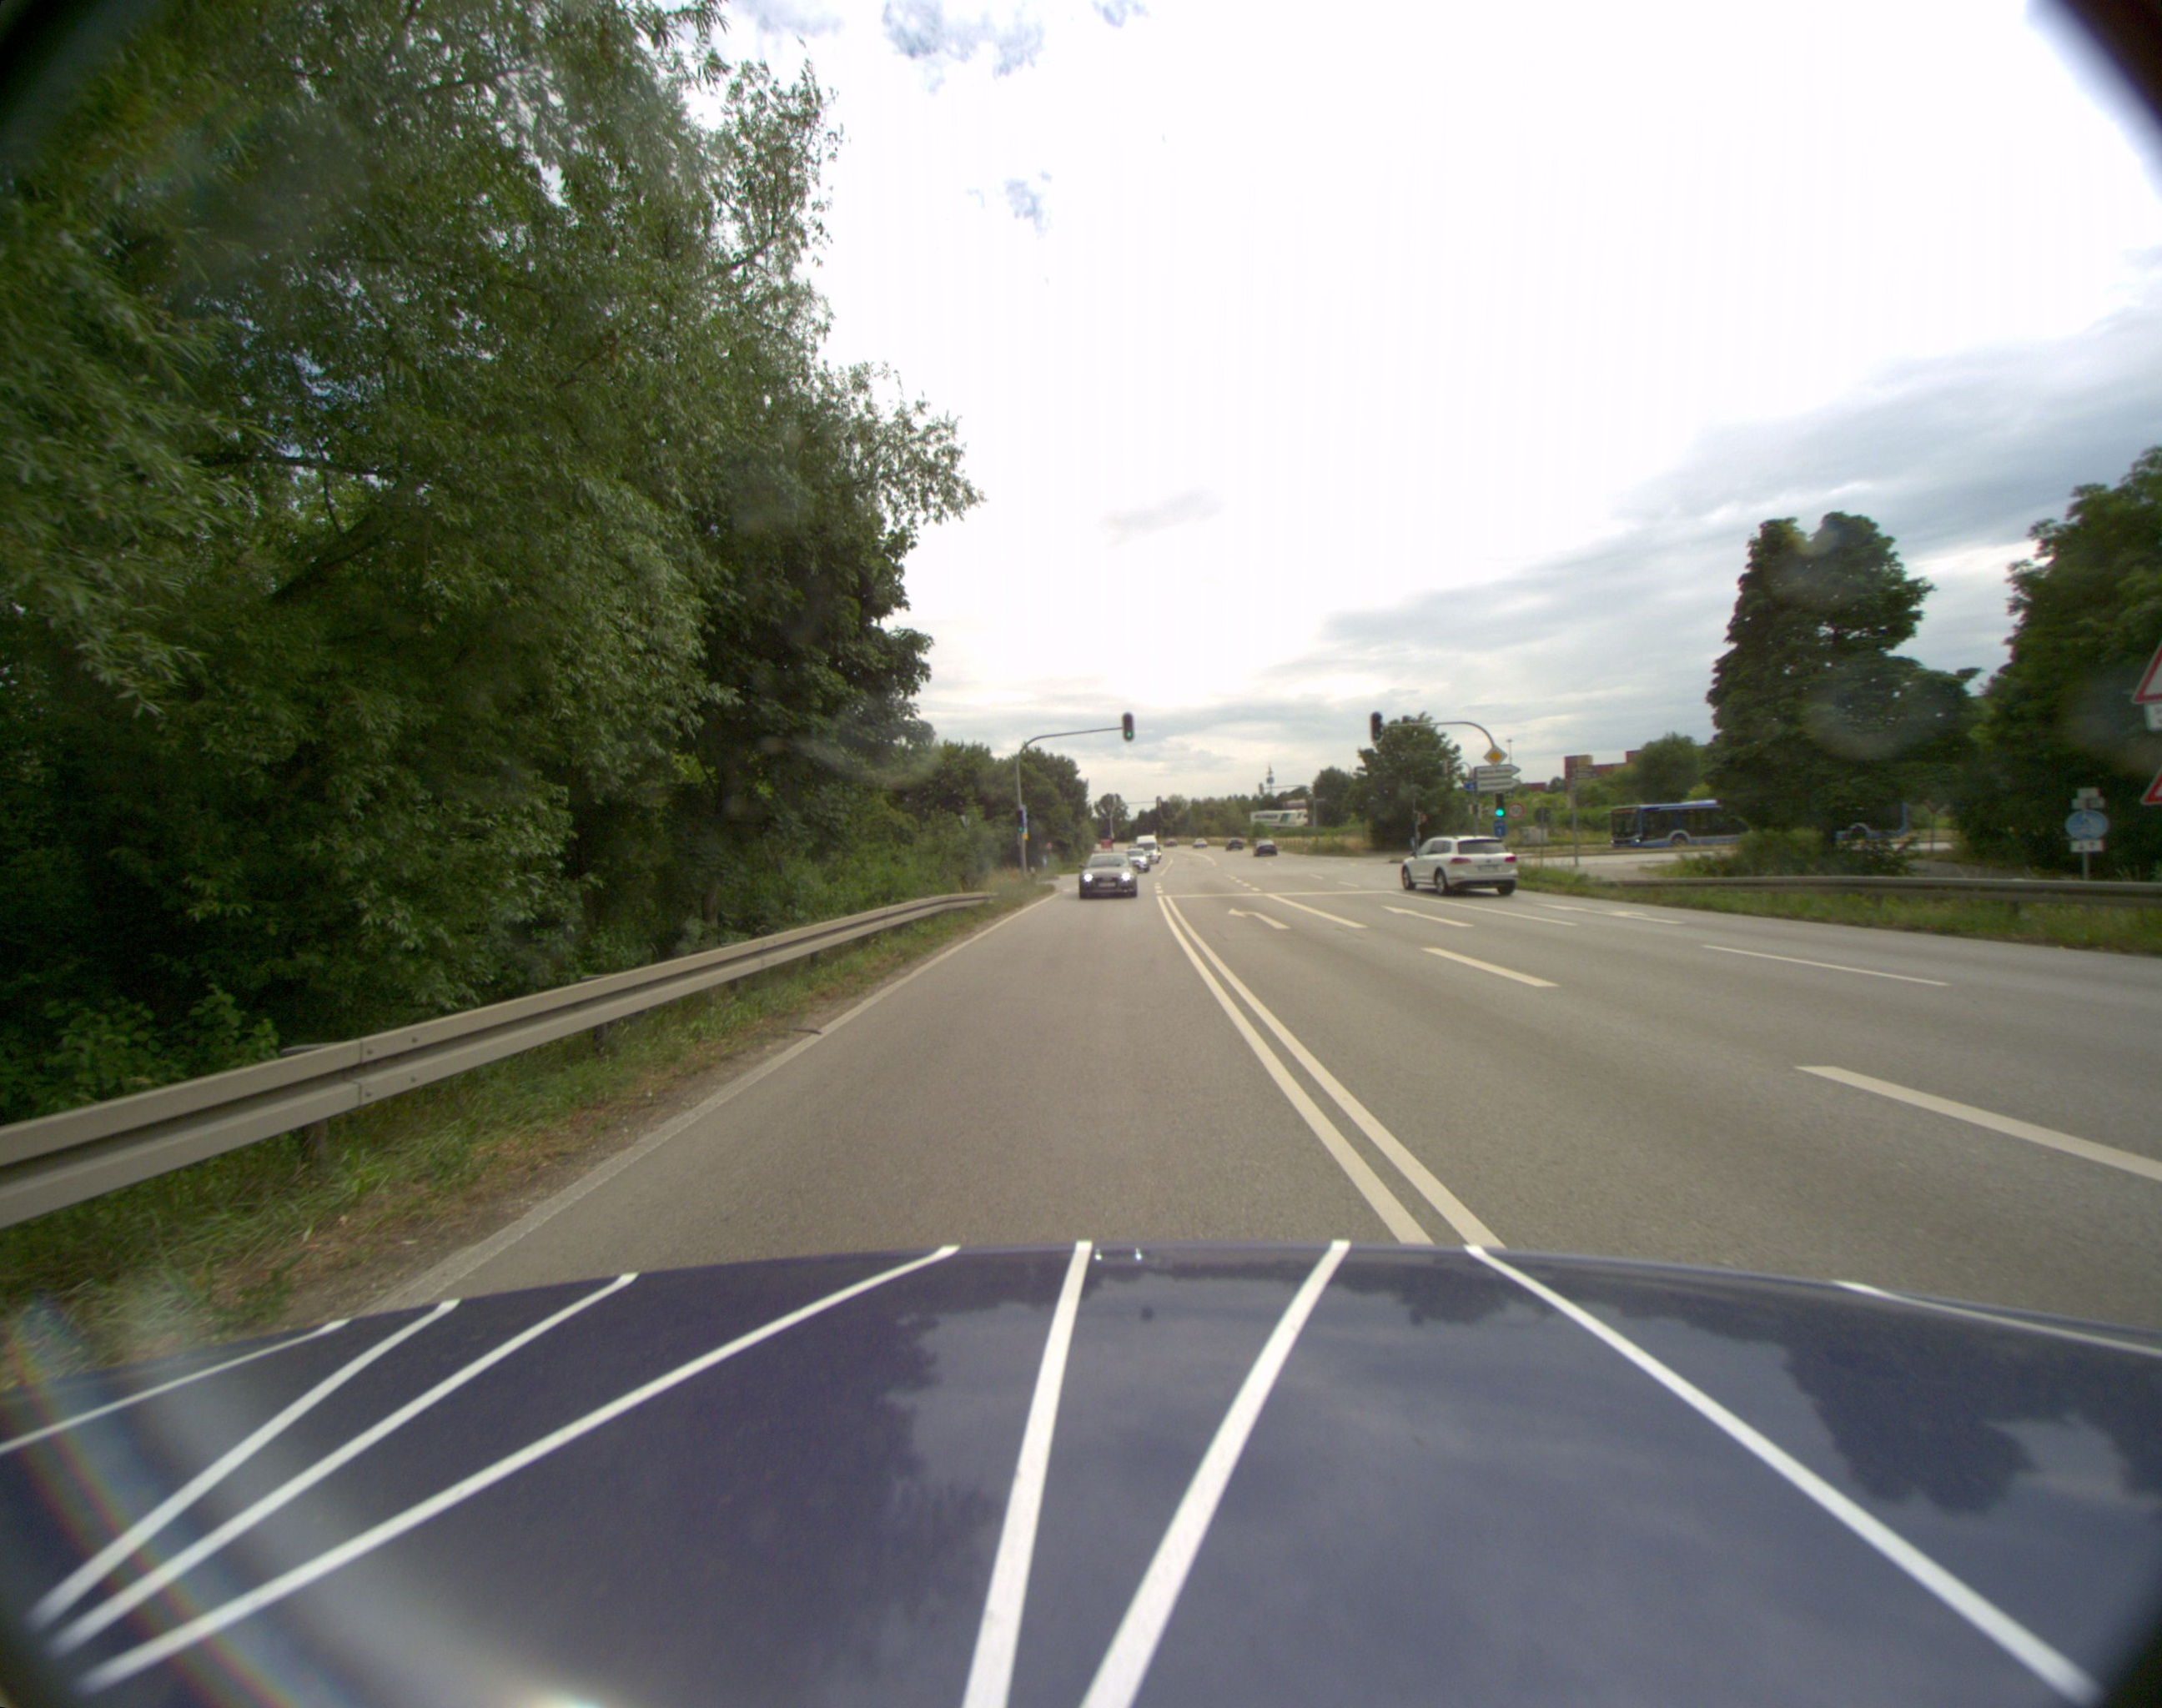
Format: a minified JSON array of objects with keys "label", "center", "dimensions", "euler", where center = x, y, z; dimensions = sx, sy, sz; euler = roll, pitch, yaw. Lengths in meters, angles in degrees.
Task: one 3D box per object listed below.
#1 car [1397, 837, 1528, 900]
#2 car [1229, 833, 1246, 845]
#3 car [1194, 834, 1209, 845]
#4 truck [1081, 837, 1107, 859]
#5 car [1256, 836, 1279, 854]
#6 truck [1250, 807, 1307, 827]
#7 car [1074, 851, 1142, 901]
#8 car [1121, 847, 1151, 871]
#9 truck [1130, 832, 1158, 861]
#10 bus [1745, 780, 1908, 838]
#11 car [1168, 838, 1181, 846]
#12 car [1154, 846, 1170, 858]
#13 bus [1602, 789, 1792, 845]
[{"label":"car","center":[11.157,0.368,22.634],"dimensions":[1.862,1.634,4.738],"euler":[-2,0,5]},{"label":"car","center":[20.045,-1.880,97.359],"dimensions":[1.743,1.377,4.001],"euler":[-4,1,6]},{"label":"car","center":[19.645,-2.364,123.892],"dimensions":[1.744,1.477,3.999],"euler":[-5,1,-1]},{"label":"truck","center":[3.093,-1.413,184.597],"dimensions":[3.031,4.321,9.564],"euler":[-3,-4,-18]},{"label":"car","center":[16.817,-0.815,68.522],"dimensions":[1.743,1.477,4.203],"euler":[-2,1,11]},{"label":"truck","center":[44.881,-8.424,173.630],"dimensions":[3.368,4.303,14.169],"euler":[-4,5,-32]},{"label":"car","center":[1.035,0.679,26.144],"dimensions":[1.964,1.447,4.798],"euler":[-2,1,6]},{"label":"car","center":[3.699,0.297,51.572],"dimensions":[1.826,1.489,4.224],"euler":[-1,1,2]},{"label":"truck","center":[6.164,-0.736,73.445],"dimensions":[2.378,2.579,6.001],"euler":[-2,1,7]},{"label":"bus","center":[48.892,-2.917,49.969],"dimensions":[7.821,3.328,3.120],"euler":[-3,1,-3]},{"label":"car","center":[17.834,-2.390,145.613],"dimensions":[1.744,1.378,3.998],"euler":[-5,2,-3]},{"label":"car","center":[9.166,-0.186,85.972],"dimensions":[1.743,1.317,4.002],"euler":[0,0,7]},{"label":"bus","center":[39.955,-2.351,49.457],"dimensions":[10.068,3.029,3.120],"euler":[-3,1,-3]}]
